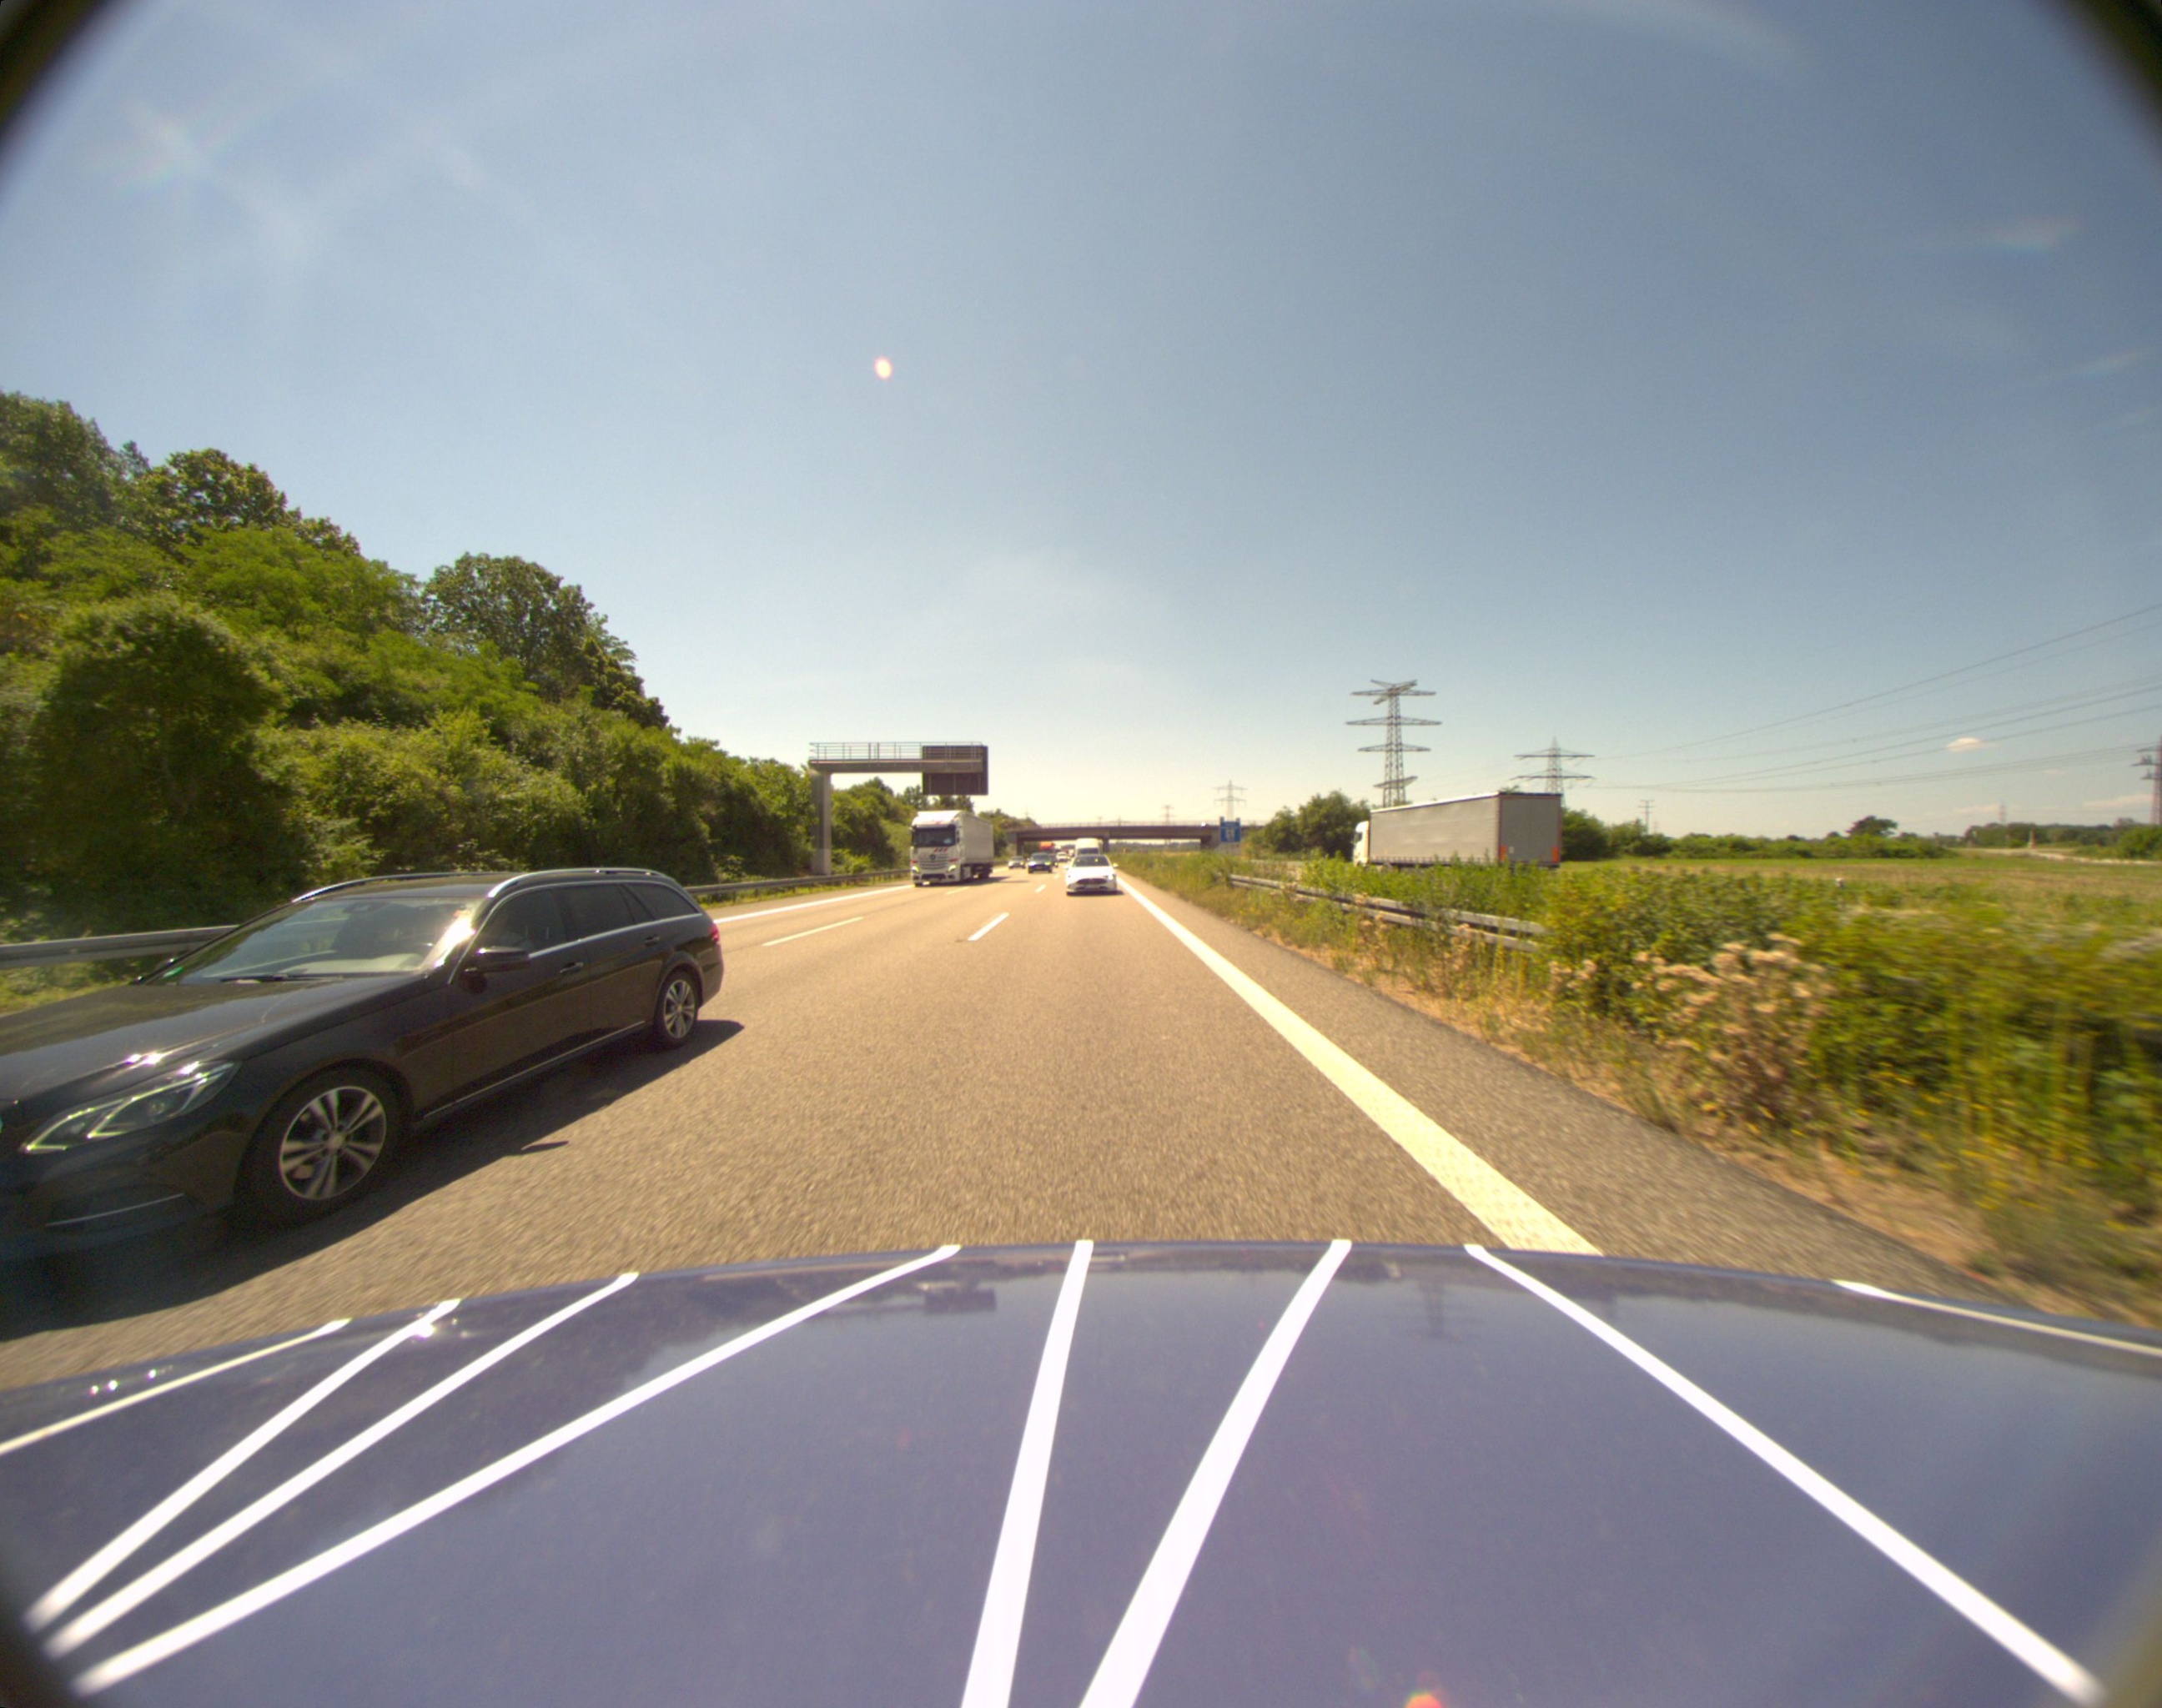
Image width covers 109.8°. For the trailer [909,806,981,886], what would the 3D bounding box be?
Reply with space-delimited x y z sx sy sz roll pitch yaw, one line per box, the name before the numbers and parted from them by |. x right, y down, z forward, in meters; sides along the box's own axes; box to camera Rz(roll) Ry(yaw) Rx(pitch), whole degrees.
trailer | -7.478 -0.453 42.658 2.720 4.079 6.788 -1 0 0

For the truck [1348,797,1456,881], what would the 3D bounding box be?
truck | 18.148 -0.793 43.495 3.376 4.383 6.555 1 1 1

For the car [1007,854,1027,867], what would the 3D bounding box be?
car | -7.237 0.722 86.186 1.840 1.403 4.558 -2 0 0

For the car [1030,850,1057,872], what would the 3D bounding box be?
car | -3.085 0.571 62.887 1.984 1.671 4.558 -1 0 0

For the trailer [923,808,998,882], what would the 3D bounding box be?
trailer | -7.519 -0.549 49.356 2.735 4.079 13.187 -1 0 0

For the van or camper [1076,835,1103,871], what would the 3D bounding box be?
van or camper | 0.705 -0.118 61.981 1.998 2.740 5.410 -2 0 2

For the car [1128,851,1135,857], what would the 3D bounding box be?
car | 14.950 0.074 226.153 1.846 1.642 4.013 -2 0 0

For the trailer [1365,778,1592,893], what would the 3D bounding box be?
trailer | 18.130 -0.758 36.742 3.376 4.383 14.318 1 0 0

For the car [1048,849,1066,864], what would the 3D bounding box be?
car | -2.691 0.315 86.771 1.984 1.671 4.558 0 0 0

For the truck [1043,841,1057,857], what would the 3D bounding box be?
truck | -6.431 -1.091 156.540 2.582 3.204 5.712 -3 1 -1

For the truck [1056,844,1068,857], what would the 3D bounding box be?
truck | -5.523 -1.124 223.893 3.507 3.891 9.645 -1 1 -1

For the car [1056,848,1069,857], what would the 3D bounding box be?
car | -3.162 -0.231 130.290 1.984 1.525 4.137 -1 0 0

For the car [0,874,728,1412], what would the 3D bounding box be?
car | -4.263 0.985 4.678 1.846 1.497 4.737 -2 1 1

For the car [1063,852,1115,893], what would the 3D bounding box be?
car | 0.308 0.721 31.980 1.984 1.525 4.558 -2 0 0
